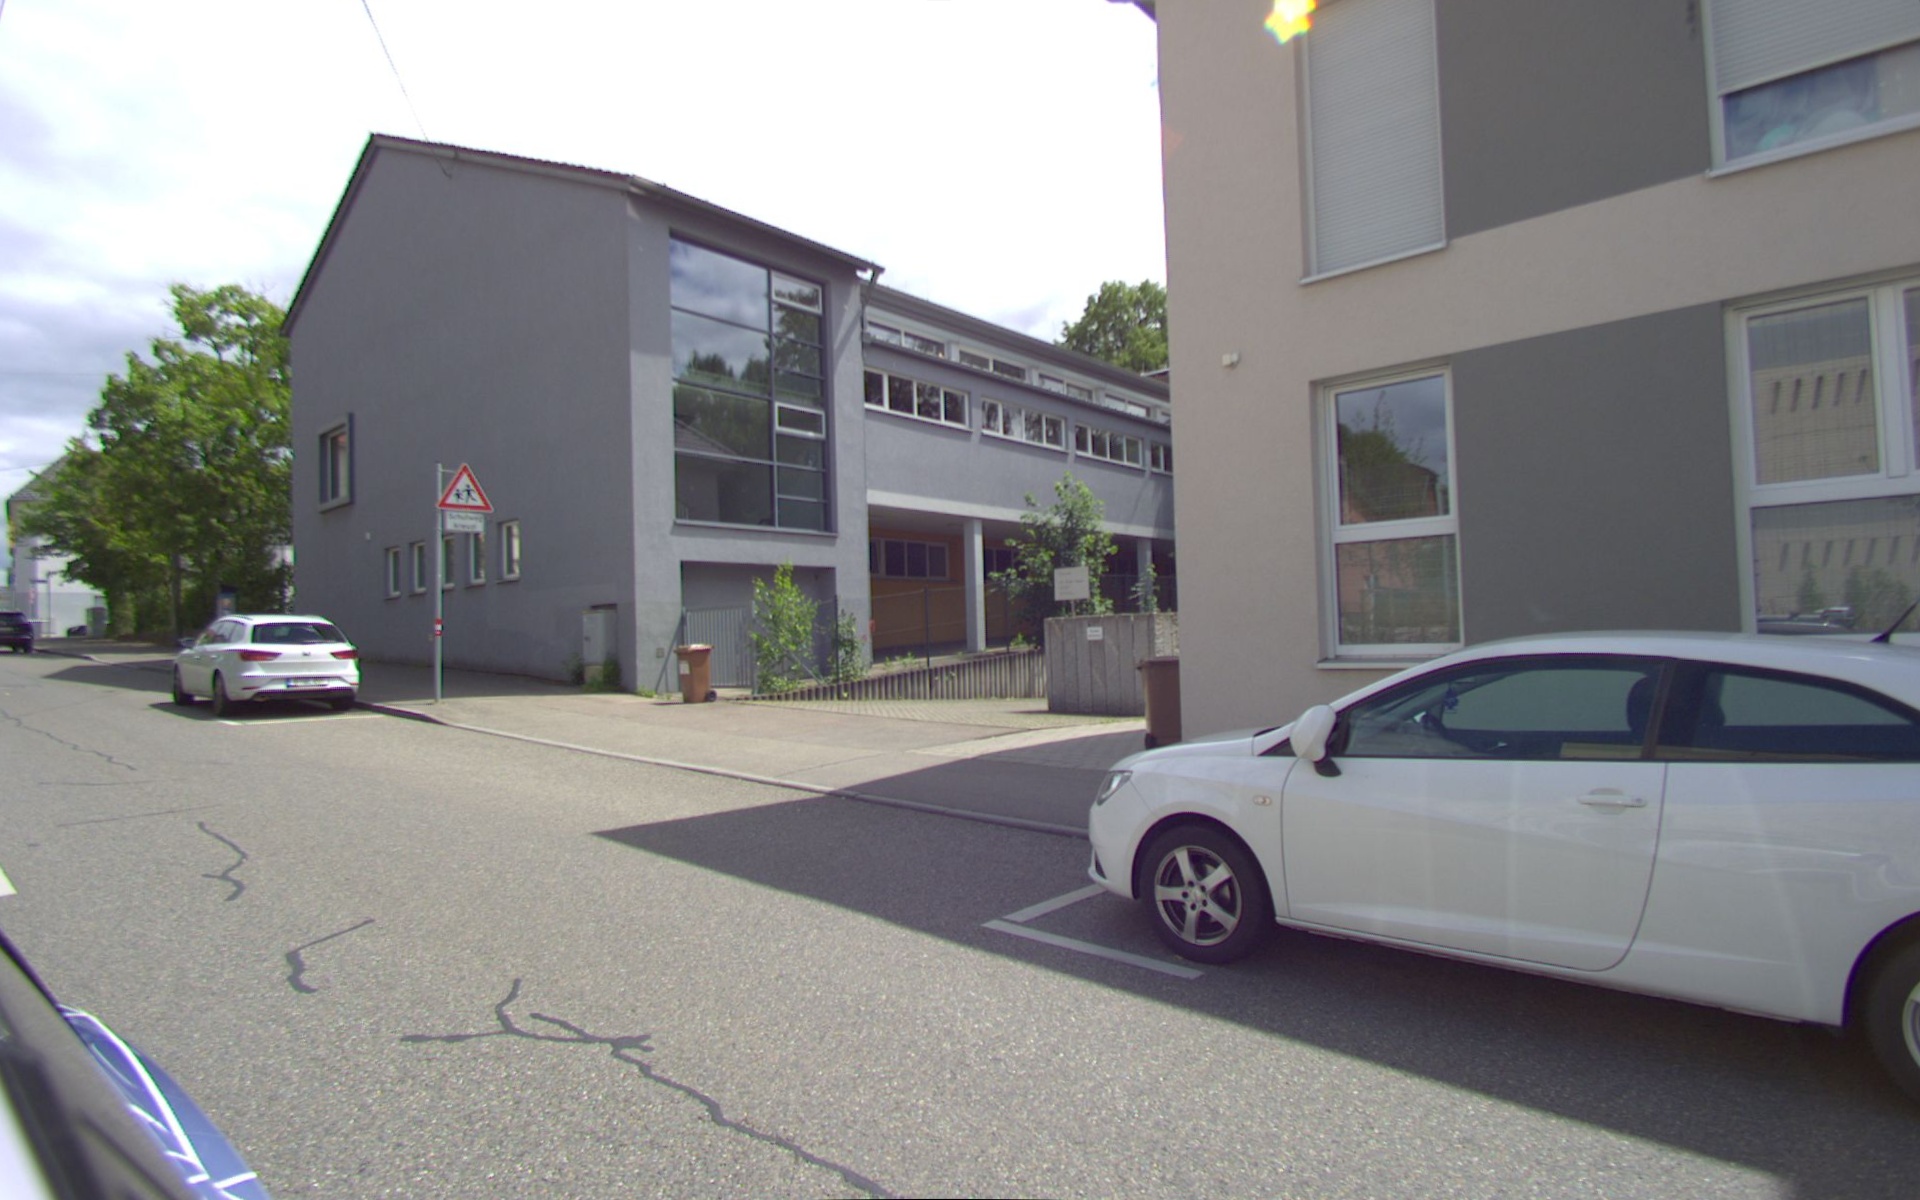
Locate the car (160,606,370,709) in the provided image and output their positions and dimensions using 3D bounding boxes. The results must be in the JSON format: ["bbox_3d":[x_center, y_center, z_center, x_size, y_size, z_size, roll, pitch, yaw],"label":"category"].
[{"bbox_3d":[-10.877,0.951,15.764,3.863,1.401,1.680,-4,-7,40],"label":"car"}]

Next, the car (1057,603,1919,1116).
[{"bbox_3d":[2.392,0.753,4.165,3.696,1.429,1.630,-2,-1,40],"label":"car"}]

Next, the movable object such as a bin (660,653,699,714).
[{"bbox_3d":[-4.460,1.318,16.081,0.399,0.936,0.449,-1,-3,40],"label":"movable object such as a bin"}]

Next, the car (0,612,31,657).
[{"bbox_3d":[-36.105,1.308,37.536,4.640,1.622,1.777,-2,-2,39],"label":"car"}]

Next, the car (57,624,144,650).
[{"bbox_3d":[-54.362,2.308,64.054,1.857,1.488,3.945,-5,-4,41],"label":"car"}]

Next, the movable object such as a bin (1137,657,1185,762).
[{"bbox_3d":[1.928,1.032,9.698,0.388,0.961,0.412,-1,-2,19],"label":"movable object such as a bin"}]
